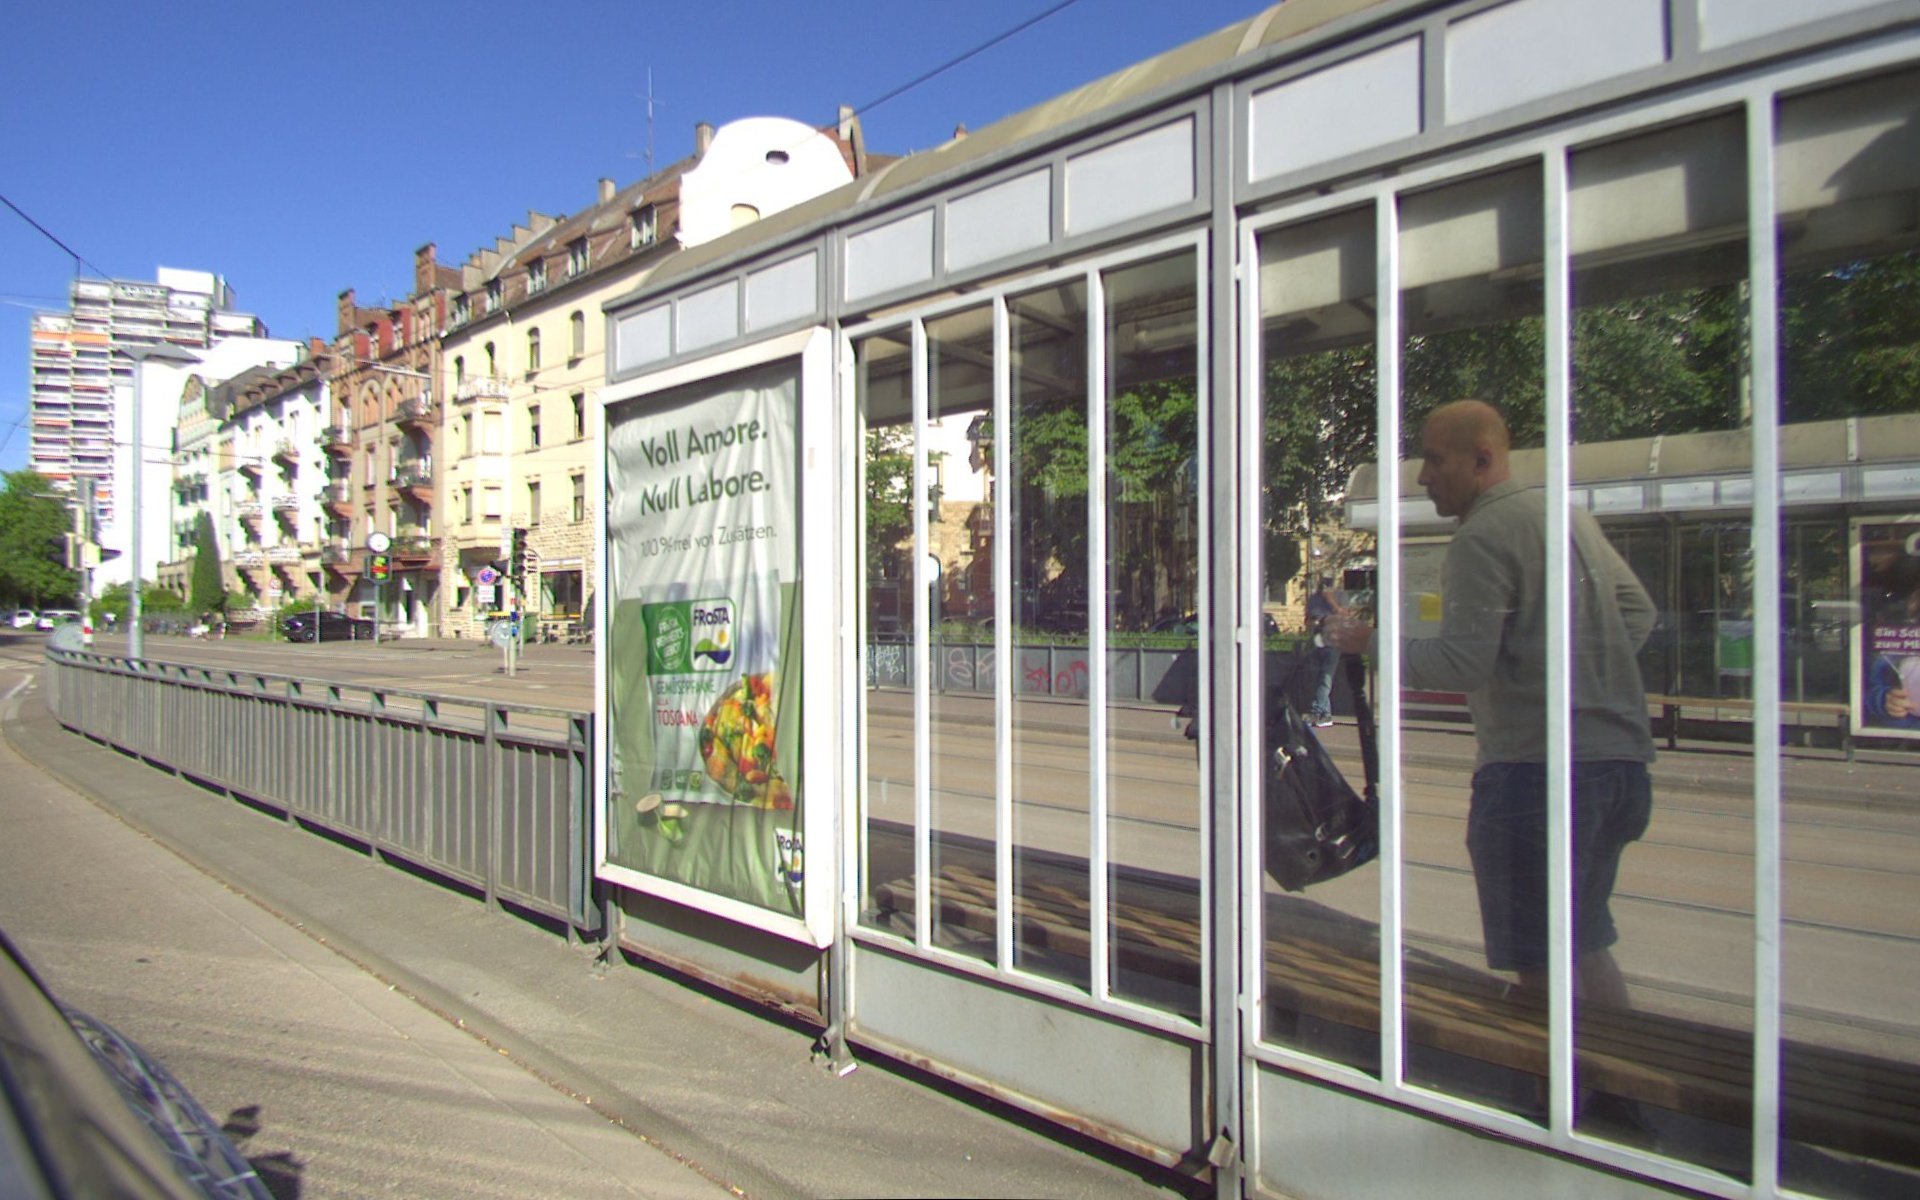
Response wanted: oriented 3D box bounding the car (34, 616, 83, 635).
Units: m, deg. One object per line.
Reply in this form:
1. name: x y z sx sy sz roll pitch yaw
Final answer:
1. car: -77.323 2.173 86.852 1.545 1.431 3.228 -1 0 -6

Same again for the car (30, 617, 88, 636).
1. car: -74.916 2.169 84.186 3.168 1.431 1.574 -1 0 -17

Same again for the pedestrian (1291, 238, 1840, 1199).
1. pedestrian: 1.361 0.334 2.279 0.895 1.886 0.763 -1 1 43

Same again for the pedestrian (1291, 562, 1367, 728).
1. pedestrian: 4.141 0.498 11.372 0.673 1.798 0.460 -1 -2 40

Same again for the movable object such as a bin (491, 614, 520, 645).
1. movable object such as a bin: -19.687 1.272 43.805 0.746 1.318 0.868 -1 0 35

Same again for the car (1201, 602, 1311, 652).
1. car: 8.554 0.772 29.383 2.969 1.340 1.729 -1 0 16

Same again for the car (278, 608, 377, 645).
1. car: -31.856 1.284 51.066 1.815 1.600 3.841 4 3 35

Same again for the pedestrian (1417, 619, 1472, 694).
1. pedestrian: 8.636 0.985 18.037 0.724 1.291 0.650 -1 0 41

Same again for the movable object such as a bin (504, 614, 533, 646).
1. movable object such as a bin: -18.920 1.273 43.415 0.746 1.318 0.868 -1 0 35

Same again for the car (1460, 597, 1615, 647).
1. car: 15.163 0.579 26.781 3.439 1.224 1.514 -1 0 26
